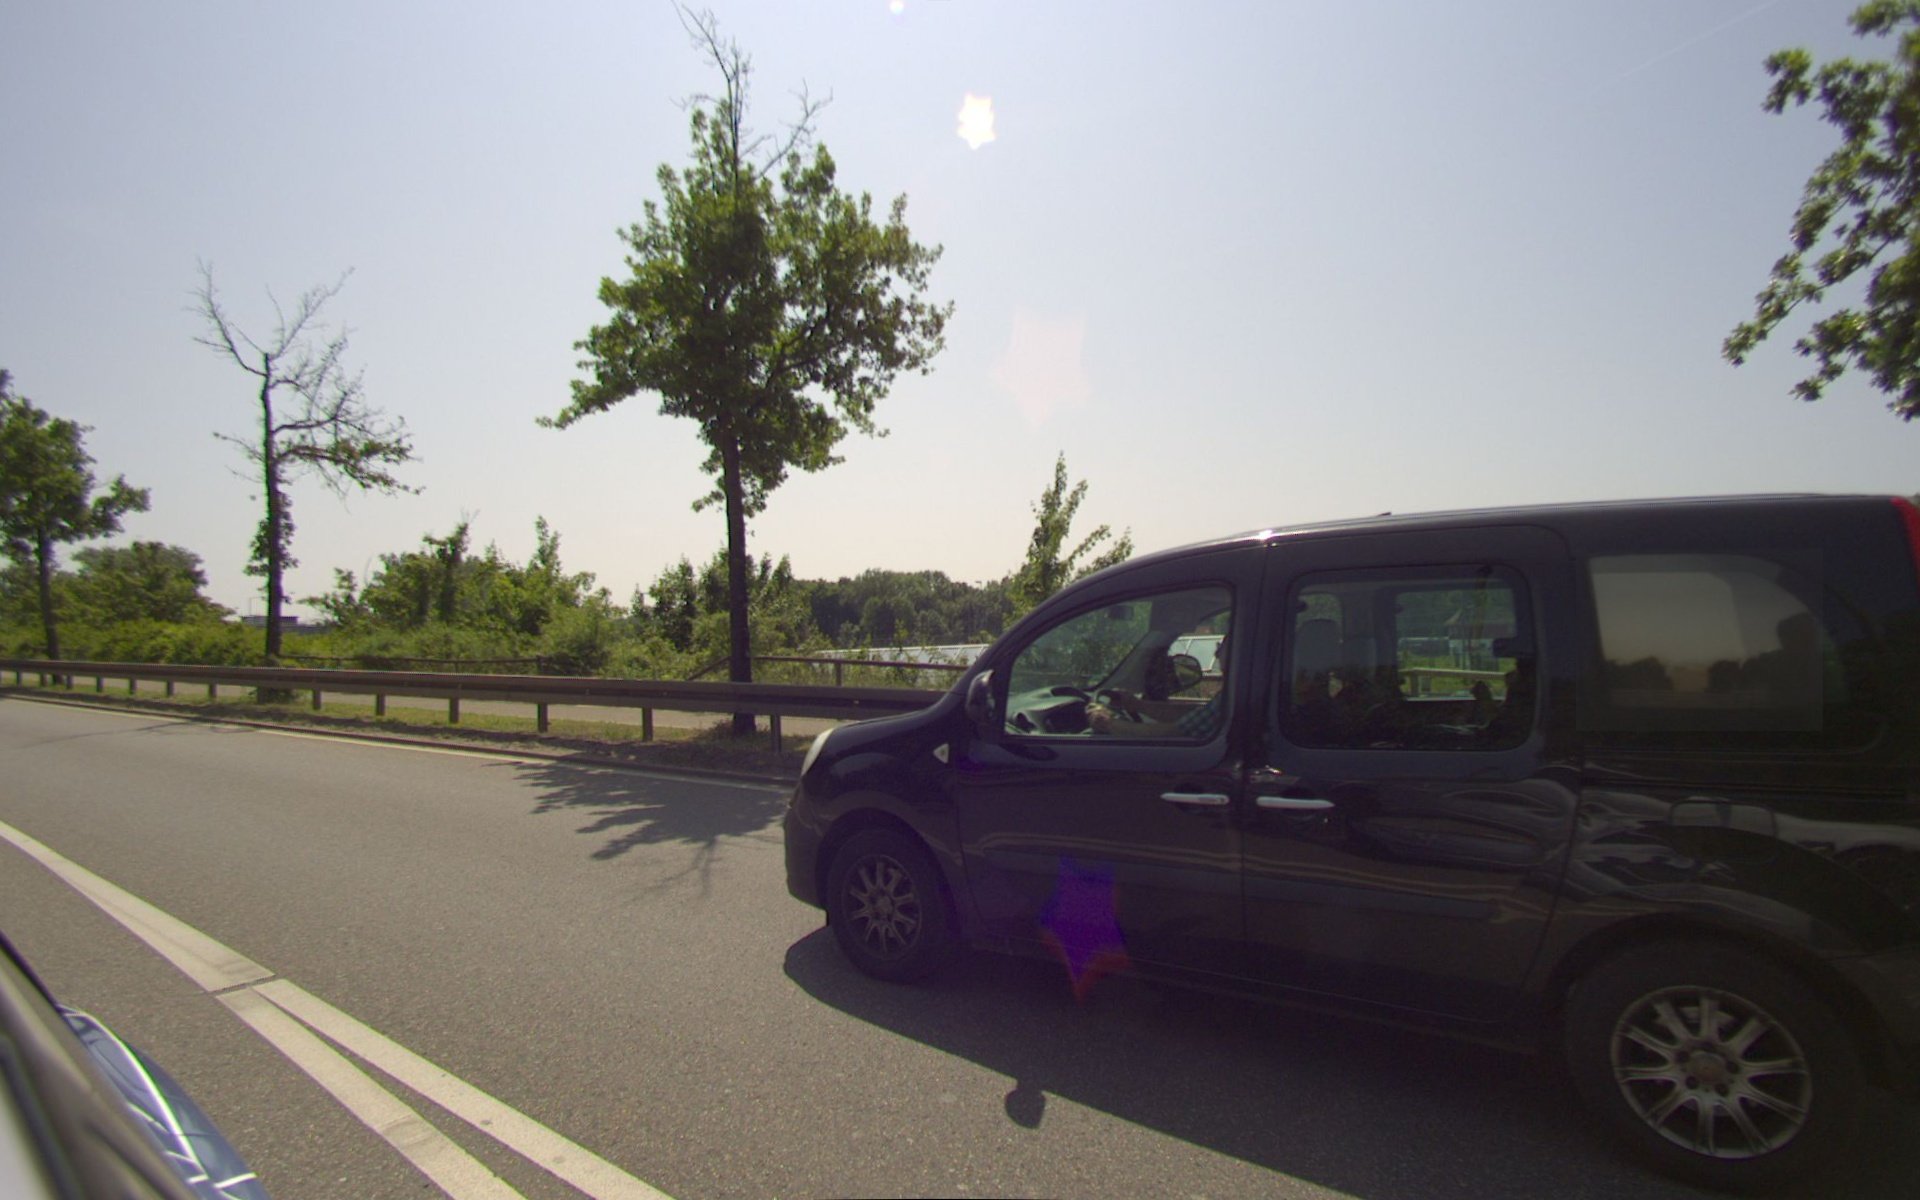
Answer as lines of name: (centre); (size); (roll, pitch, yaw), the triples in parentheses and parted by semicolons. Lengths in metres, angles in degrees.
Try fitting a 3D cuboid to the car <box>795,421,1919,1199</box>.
car: (1.569, 0.520, 3.665); (4.243, 1.772, 1.791); (-2, -1, 36)
